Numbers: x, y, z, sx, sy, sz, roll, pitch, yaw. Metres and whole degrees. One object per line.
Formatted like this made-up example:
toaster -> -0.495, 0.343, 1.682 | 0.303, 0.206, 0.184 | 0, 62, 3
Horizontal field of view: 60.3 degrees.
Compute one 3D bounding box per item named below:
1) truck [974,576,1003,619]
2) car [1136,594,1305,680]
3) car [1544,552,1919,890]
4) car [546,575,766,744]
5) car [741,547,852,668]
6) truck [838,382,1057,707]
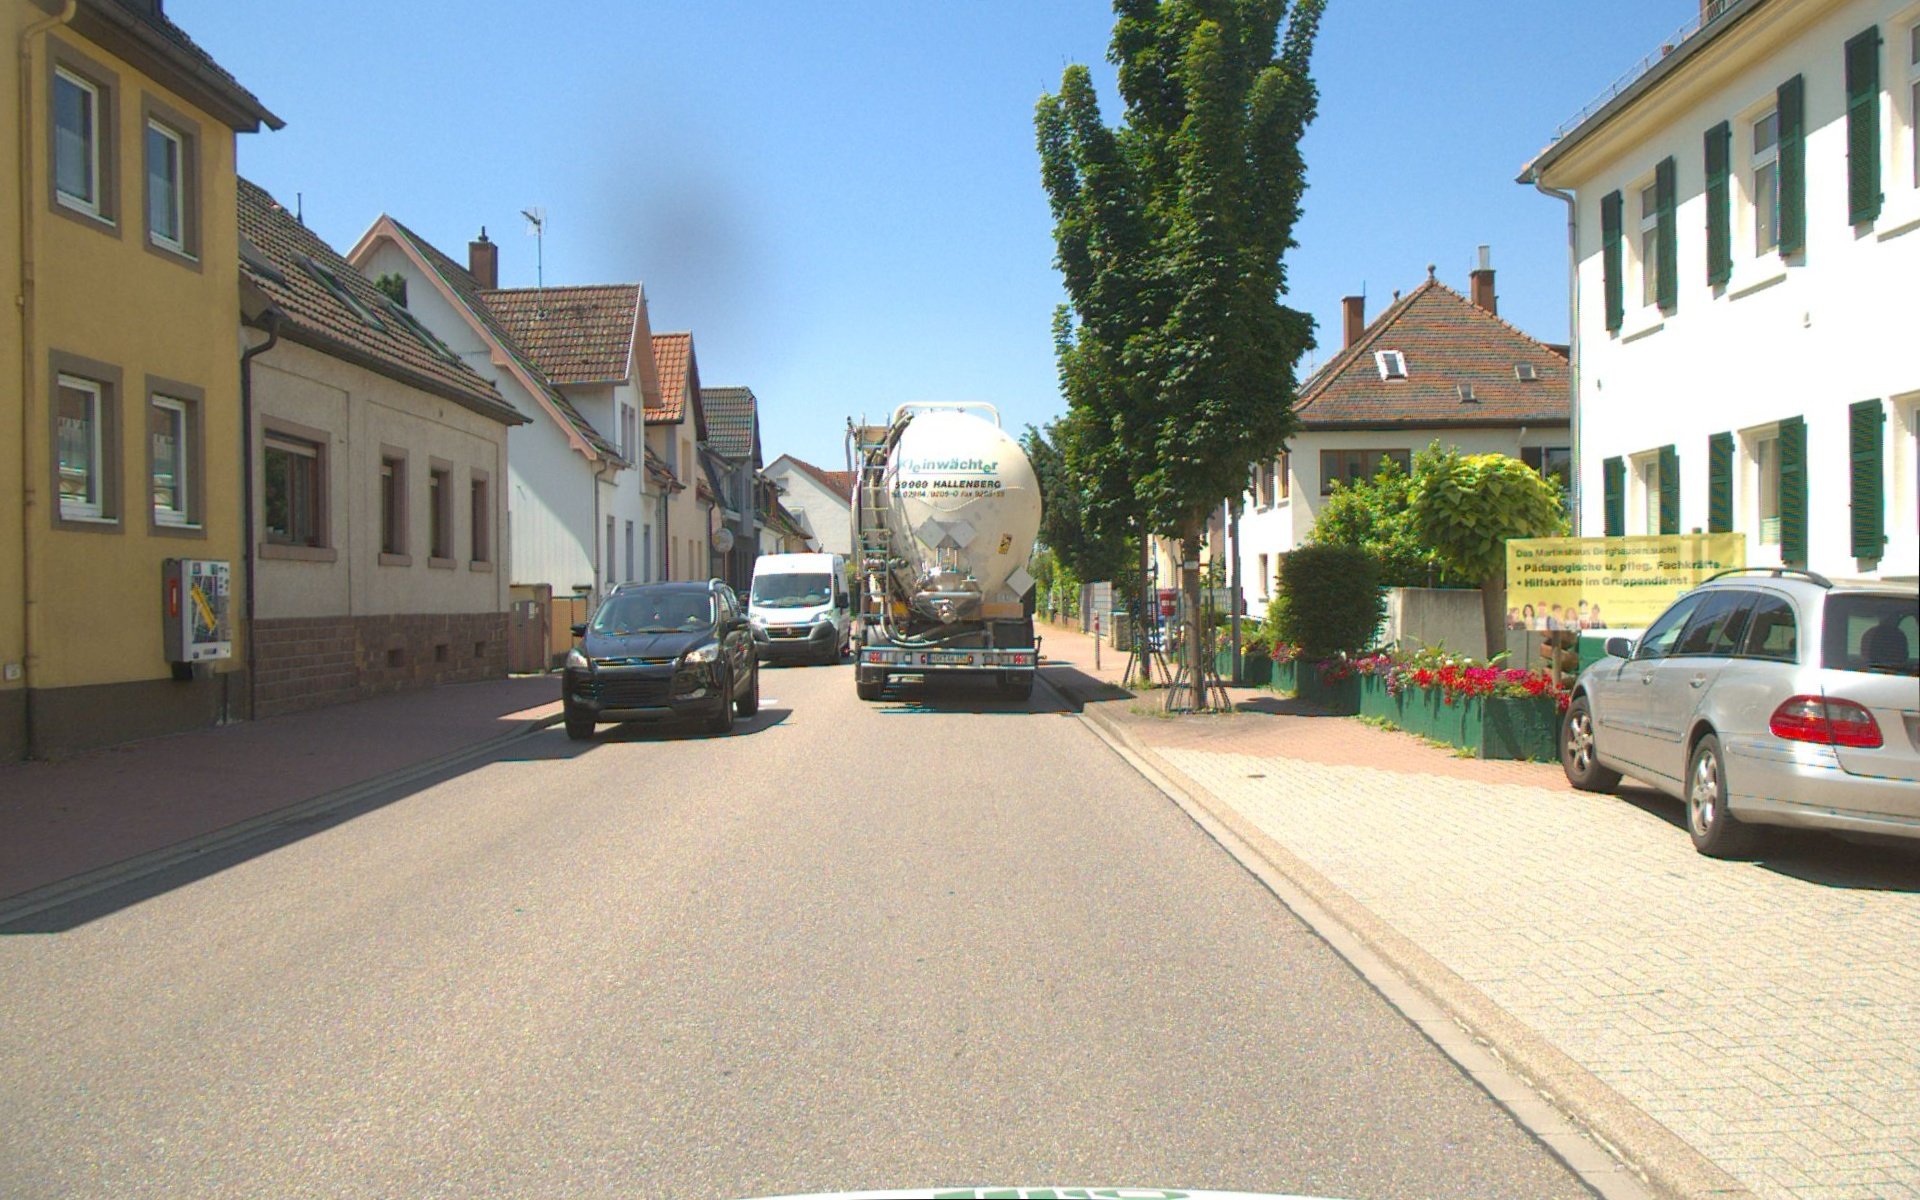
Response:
truck -> 2.264, -0.177, 129.359 | 1.952, 3.192, 9.451 | 1, 0, 2
car -> 6.990, 0.989, 44.669 | 4.089, 1.613, 1.907 | 10, 0, 0
car -> 4.981, 0.582, 9.859 | 1.777, 1.488, 4.888 | 4, 1, 8
car -> -3.419, 0.609, 19.382 | 1.802, 1.699, 4.322 | -2, 0, -1
car -> -3.664, 0.155, 38.147 | 2.027, 2.498, 6.006 | -2, 0, -1
truck -> -0.249, -0.657, 24.716 | 2.677, 4.029, 8.139 | 1, -1, -1
